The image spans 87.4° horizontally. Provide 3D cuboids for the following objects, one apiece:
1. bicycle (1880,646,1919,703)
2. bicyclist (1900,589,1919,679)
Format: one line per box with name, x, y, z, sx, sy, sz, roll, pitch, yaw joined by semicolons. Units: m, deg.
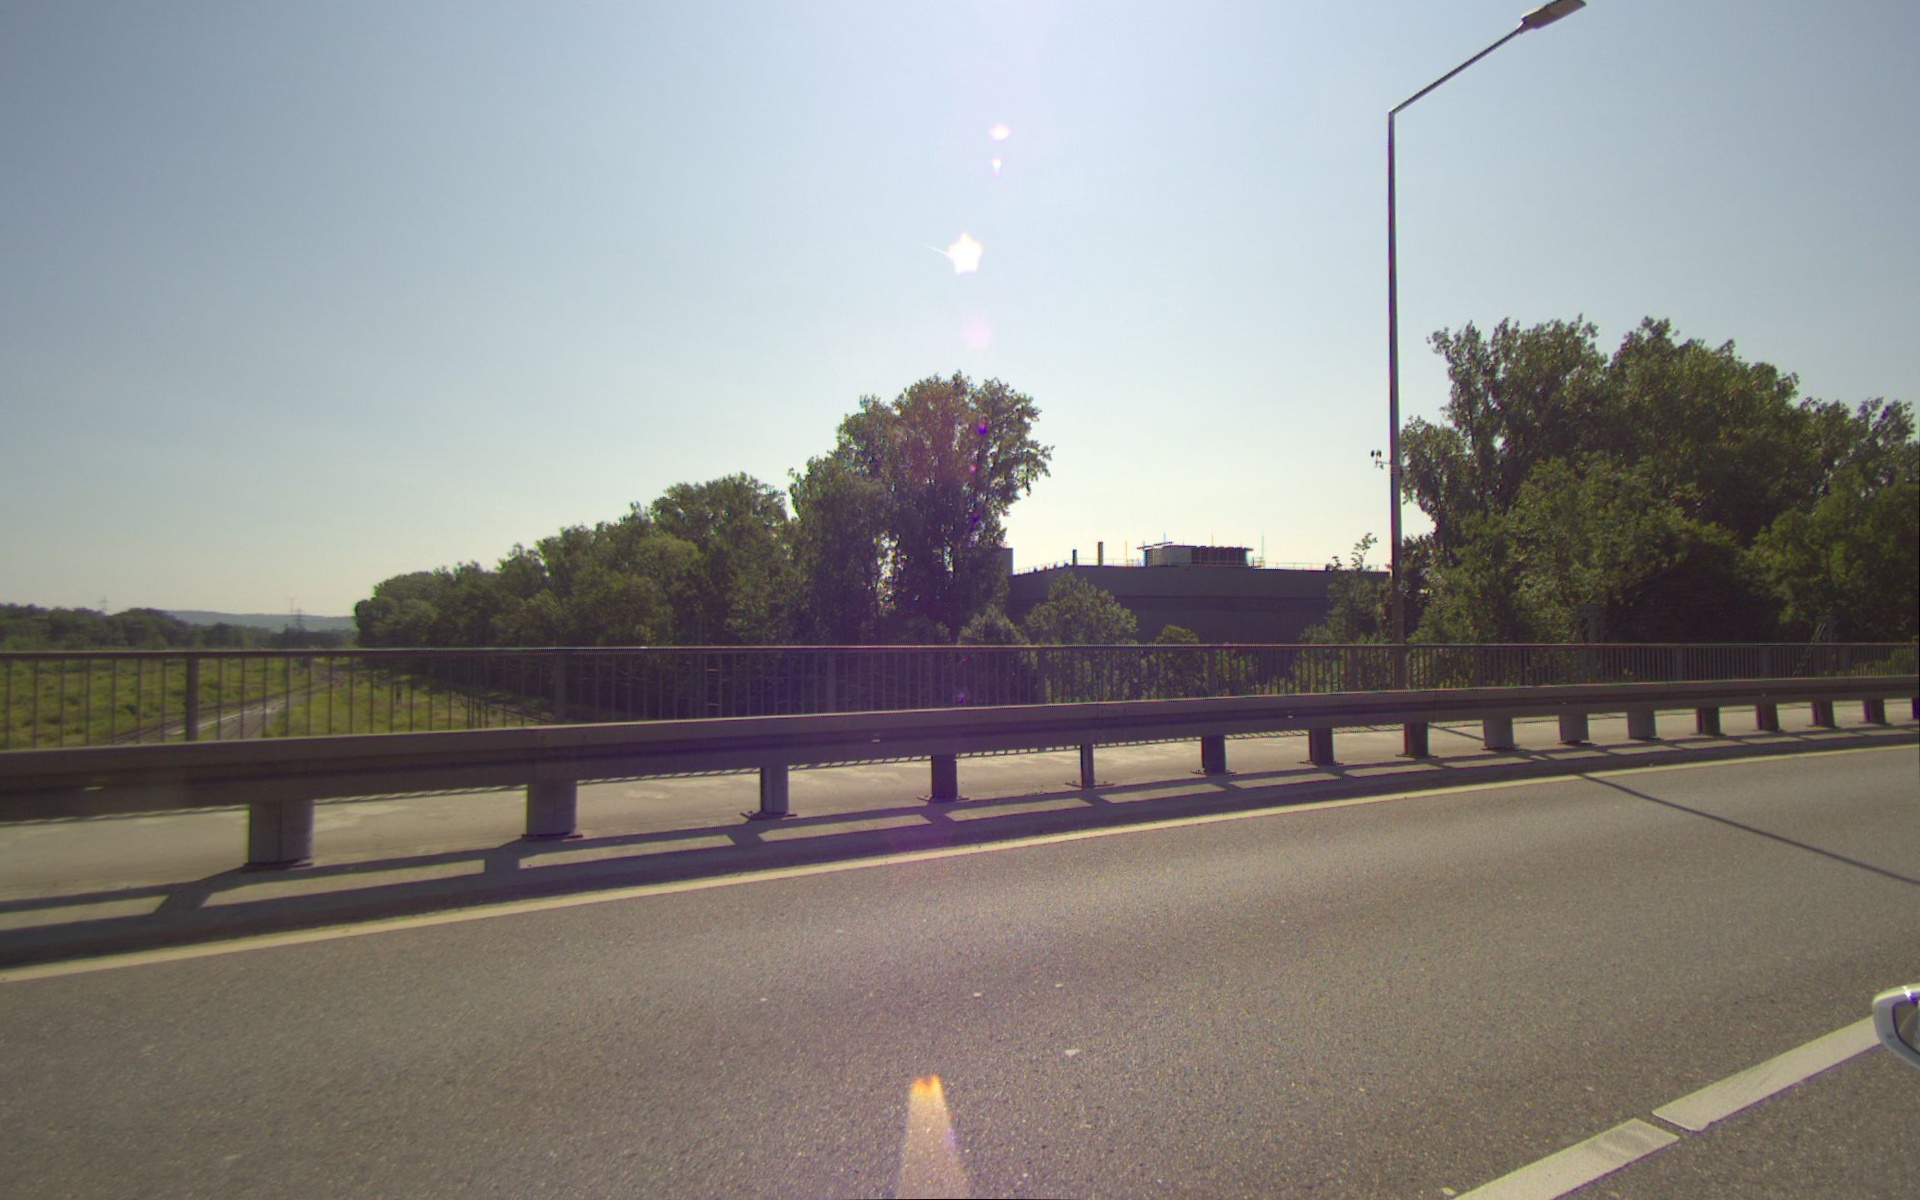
bicycle;16.726;1.261;17.039;1.938;0.903;0.926;0;0;-22
bicyclist;16.563;0.589;16.910;1.000;1.516;0.660;2;0;-18
